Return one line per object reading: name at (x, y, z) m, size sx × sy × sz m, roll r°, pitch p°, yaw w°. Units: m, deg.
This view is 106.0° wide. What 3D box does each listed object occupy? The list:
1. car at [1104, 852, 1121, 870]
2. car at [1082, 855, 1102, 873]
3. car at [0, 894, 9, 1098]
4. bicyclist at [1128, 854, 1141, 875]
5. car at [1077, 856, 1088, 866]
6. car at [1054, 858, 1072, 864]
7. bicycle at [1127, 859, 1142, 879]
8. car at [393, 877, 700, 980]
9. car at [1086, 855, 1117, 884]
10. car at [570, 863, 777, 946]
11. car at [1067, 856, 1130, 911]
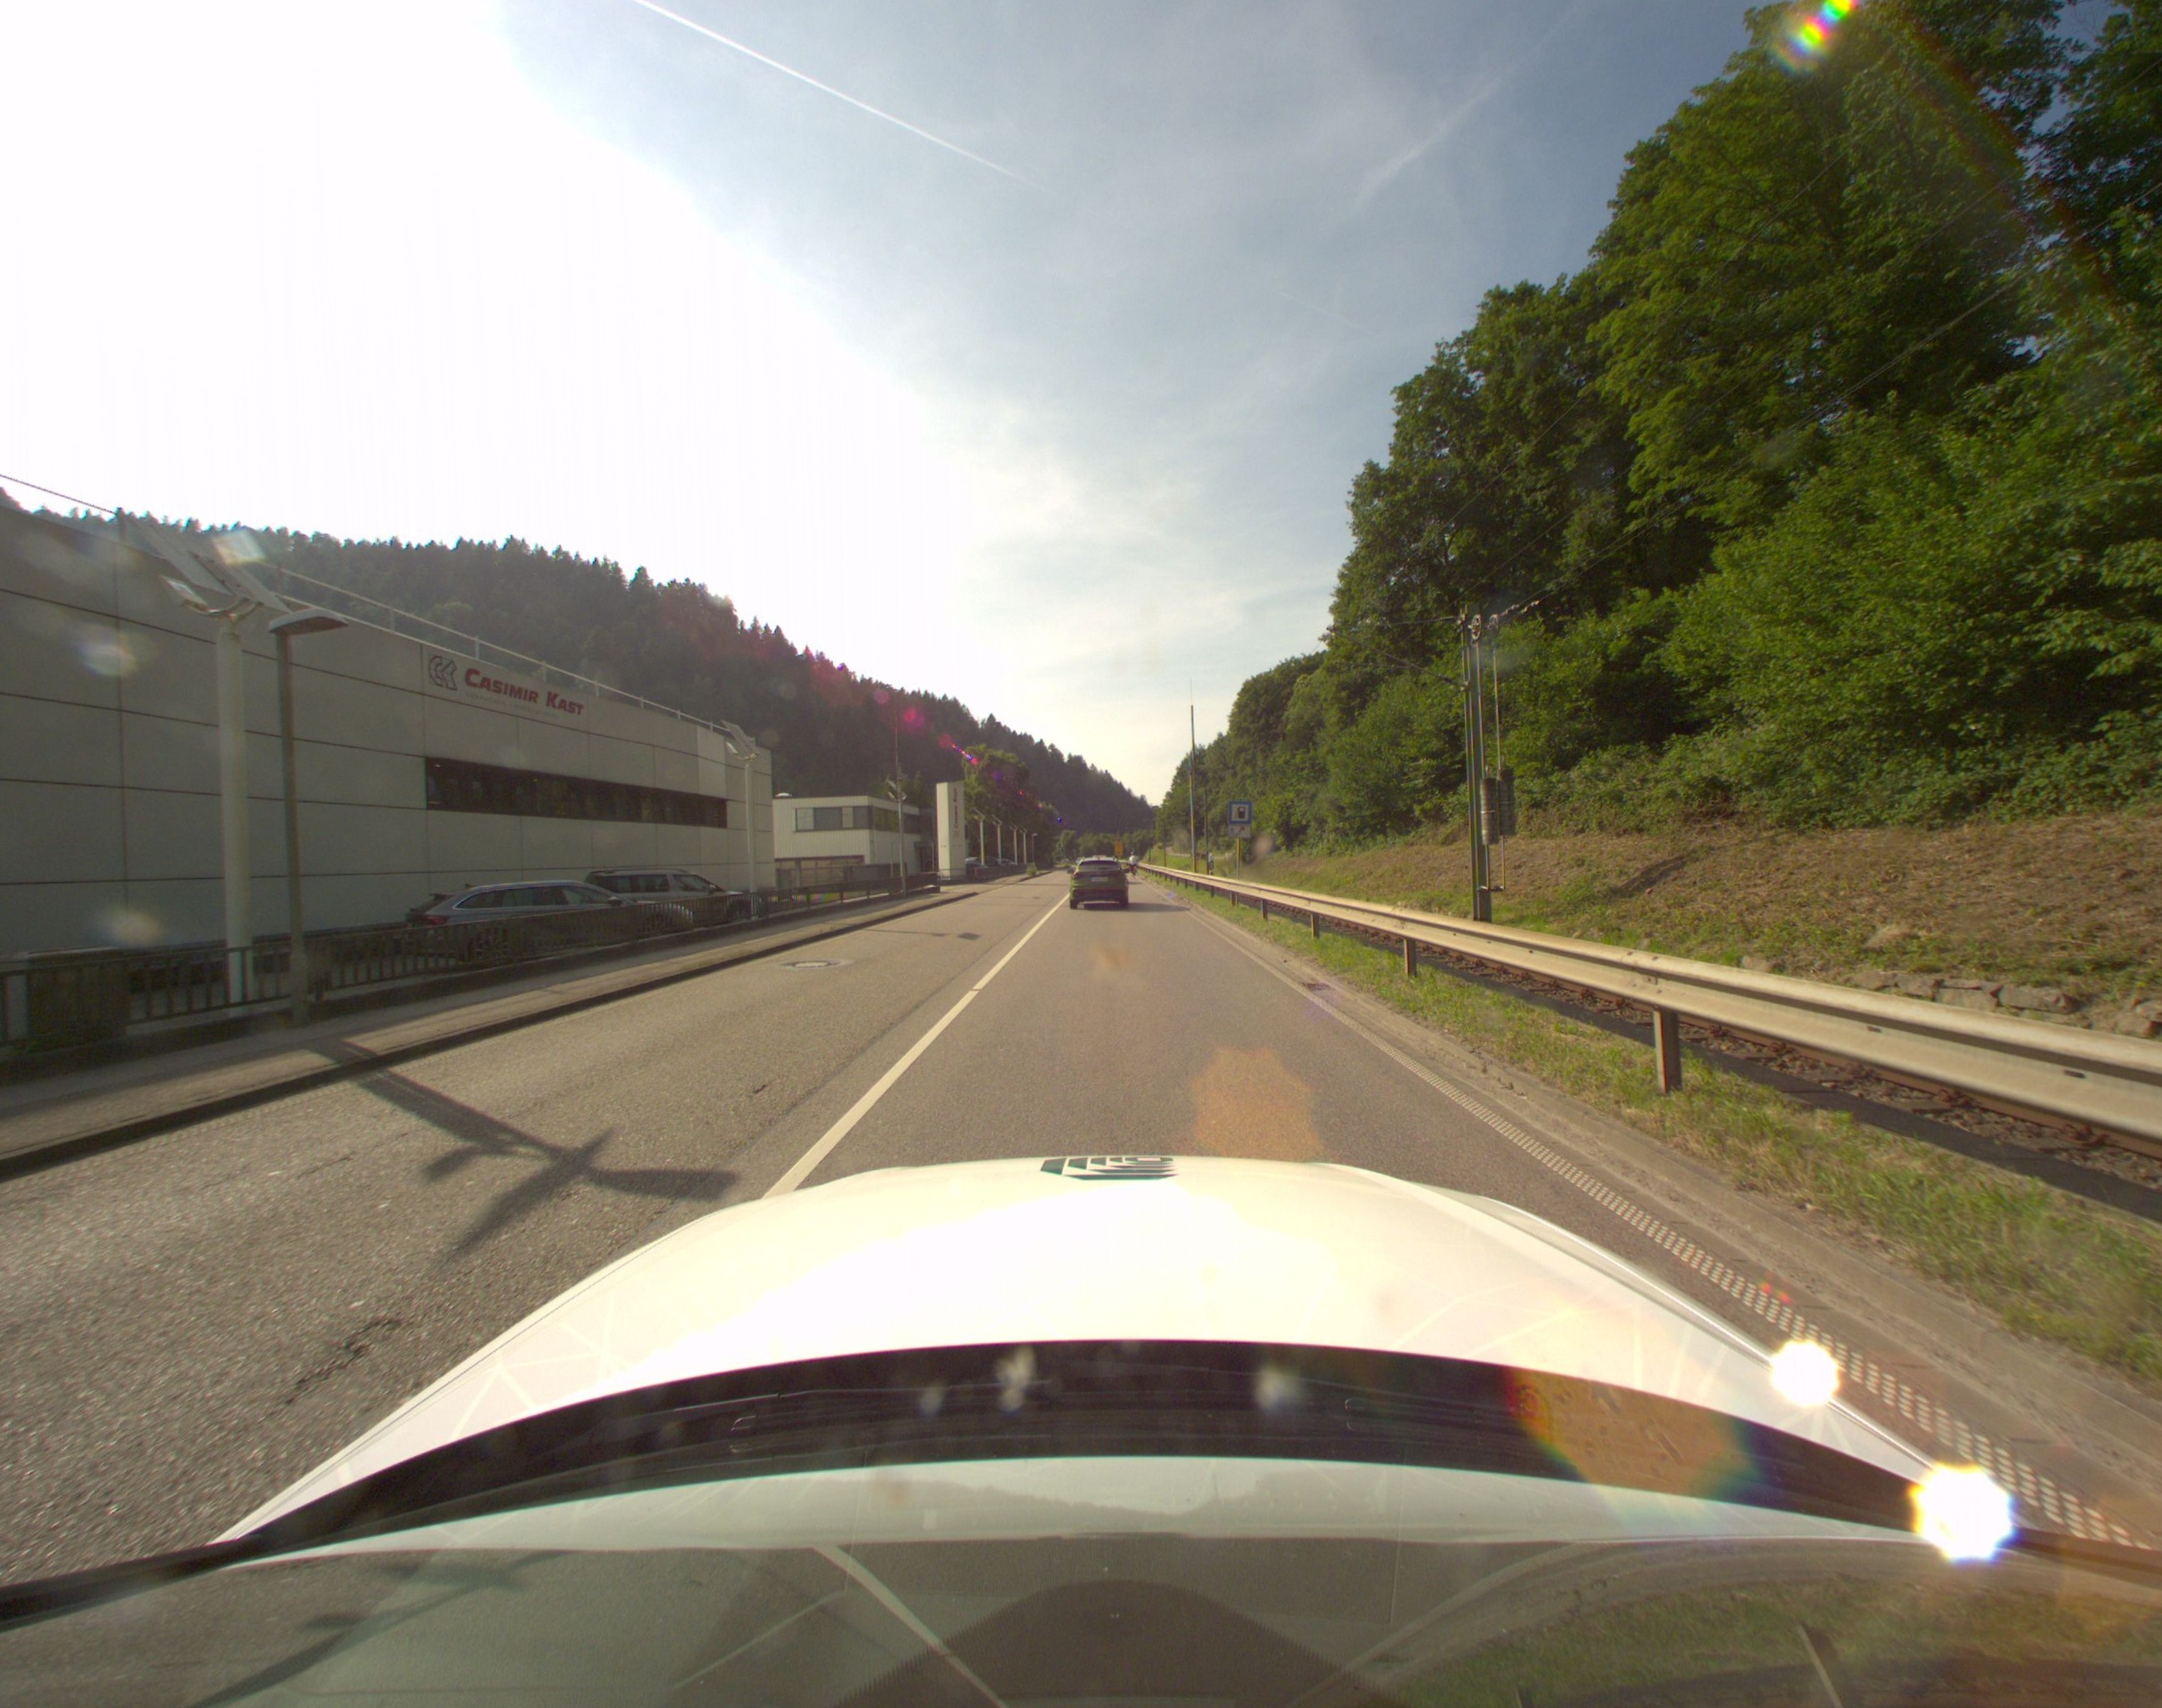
car at (3.716, 0.805, 97.035) m, size 1.986 × 2.013 × 4.001 m, roll -2°, pitch 0°, yaw 1°
car at (1.037, 0.947, 75.883) m, size 1.733 × 1.602 × 4.000 m, roll -1°, pitch 0°, yaw 1°
car at (-9.552, 1.135, 4.503) m, size 1.865 × 1.592 × 4.200 m, roll -2°, pitch 0°, yaw 43°
bicyclist at (3.629, 0.704, 55.468) m, size 0.779 × 1.412 × 0.675 m, roll -2°, pitch -1°, yaw -1°
car at (0.255, 1.073, 128.872) m, size 1.671 × 1.485 × 4.247 m, roll 0°, pitch 0°, yaw 1°
car at (-4.517, 1.665, 202.377) m, size 4.242 × 1.433 × 1.557 m, roll -2°, pitch 0°, yaw 2°
bicycle at (3.639, 1.004, 55.314) m, size 0.809 × 1.250 × 2.122 m, roll -2°, pitch 0°, yaw 0°
car at (-9.899, 1.263, 15.367) m, size 1.865 × 1.495 × 4.516 m, roll -2°, pitch 0°, yaw 43°
car at (1.170, 0.850, 47.330) m, size 1.733 × 1.602 × 4.000 m, roll -1°, pitch 0°, yaw 1°
car at (-9.798, 1.132, 19.816) m, size 1.759 × 1.708 × 4.135 m, roll -2°, pitch 0°, yaw 43°
car at (0.534, 0.825, 24.804) m, size 1.733 × 1.508 × 4.000 m, roll -1°, pitch 0°, yaw 1°
